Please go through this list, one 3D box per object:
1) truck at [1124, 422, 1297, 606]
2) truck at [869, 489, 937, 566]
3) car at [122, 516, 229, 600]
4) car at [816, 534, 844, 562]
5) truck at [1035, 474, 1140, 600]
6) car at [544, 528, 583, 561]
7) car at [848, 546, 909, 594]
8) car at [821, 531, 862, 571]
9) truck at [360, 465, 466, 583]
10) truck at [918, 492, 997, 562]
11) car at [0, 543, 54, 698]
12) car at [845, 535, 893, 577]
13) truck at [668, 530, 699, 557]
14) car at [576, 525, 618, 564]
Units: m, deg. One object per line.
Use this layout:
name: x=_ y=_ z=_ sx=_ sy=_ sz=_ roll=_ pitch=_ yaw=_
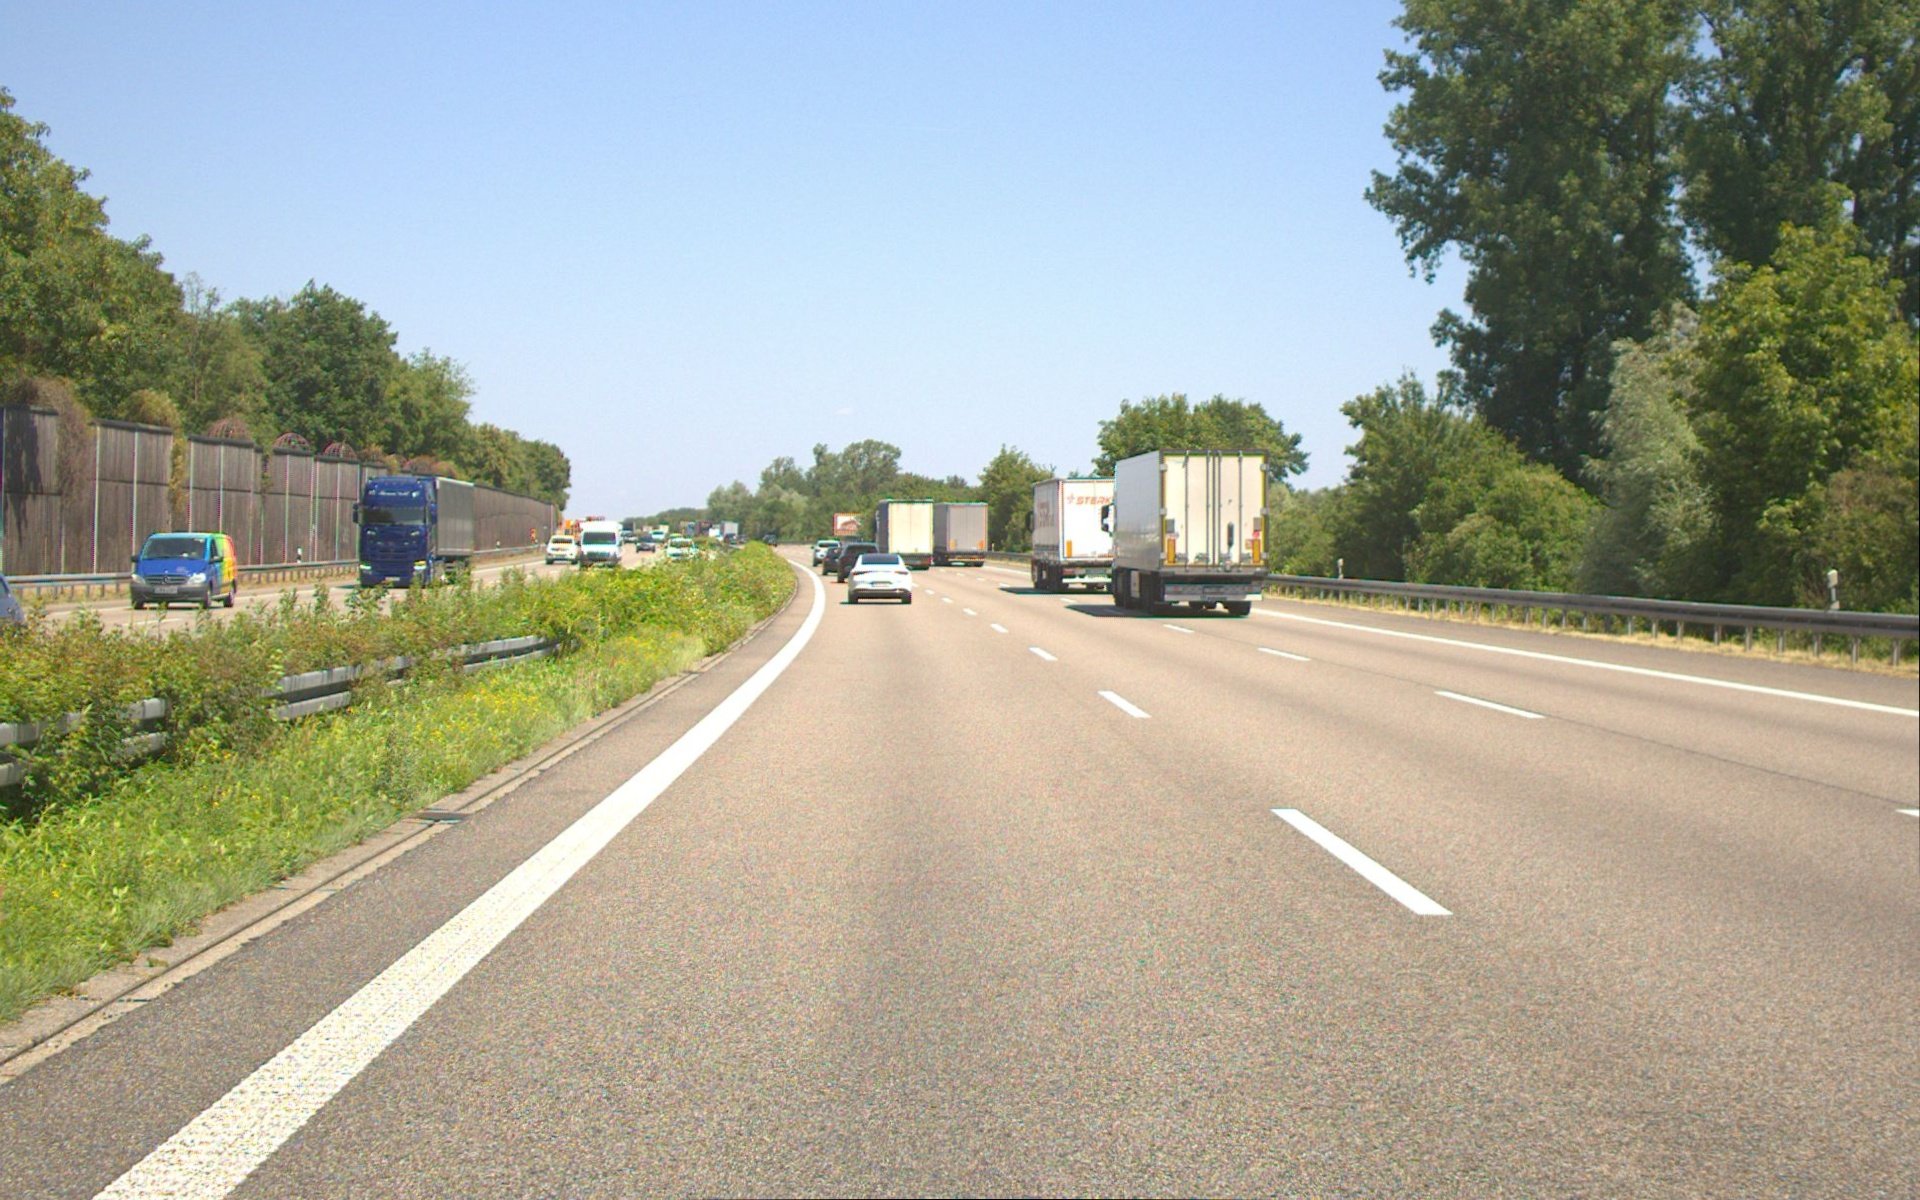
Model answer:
truck: x=6.160 y=-2.070 z=86.512 sx=3.492 sy=4.296 sz=10.988 roll=1 pitch=0 yaw=0
truck: x=-3.414 y=-4.204 z=202.574 sx=3.579 sy=4.296 sz=12.192 roll=1 pitch=0 yaw=-3
car: x=-19.248 y=-1.037 z=84.525 sx=1.801 sy=2.007 sz=4.000 roll=1 pitch=1 yaw=-2
car: x=-8.218 y=-3.266 z=216.708 sx=1.723 sy=1.777 sz=4.001 roll=1 pitch=1 yaw=-3
truck: x=4.515 y=-2.201 z=124.023 sx=3.359 sy=4.296 sz=10.828 roll=1 pitch=0 yaw=0
car: x=-24.779 y=-3.479 z=215.011 sx=1.993 sy=2.007 sz=4.000 roll=1 pitch=0 yaw=0
car: x=-2.371 y=-0.889 z=100.407 sx=1.715 sy=1.365 sz=3.375 roll=0 pitch=1 yaw=0
car: x=-5.983 y=-2.475 z=173.844 sx=1.993 sy=2.007 sz=4.000 roll=1 pitch=1 yaw=-1
truck: x=-19.977 y=-2.736 z=126.051 sx=2.610 sy=4.114 sz=10.281 roll=1 pitch=1 yaw=-2
truck: x=-0.242 y=-4.628 z=220.932 sx=3.829 sy=4.296 sz=11.556 roll=1 pitch=0 yaw=-6
car: x=-9.705 y=0.184 z=31.614 sx=1.760 sy=1.423 sz=3.935 roll=1 pitch=1 yaw=-1
car: x=-3.908 y=-1.894 z=147.869 sx=1.993 sy=1.766 sz=4.000 roll=1 pitch=1 yaw=-1
truck: x=-16.222 y=-3.291 z=201.825 sx=1.818 sy=1.518 sz=3.629 roll=1 pitch=0 yaw=-4
car: x=-18.880 y=-2.879 z=179.108 sx=1.993 sy=2.007 sz=4.001 roll=0 pitch=1 yaw=-3
